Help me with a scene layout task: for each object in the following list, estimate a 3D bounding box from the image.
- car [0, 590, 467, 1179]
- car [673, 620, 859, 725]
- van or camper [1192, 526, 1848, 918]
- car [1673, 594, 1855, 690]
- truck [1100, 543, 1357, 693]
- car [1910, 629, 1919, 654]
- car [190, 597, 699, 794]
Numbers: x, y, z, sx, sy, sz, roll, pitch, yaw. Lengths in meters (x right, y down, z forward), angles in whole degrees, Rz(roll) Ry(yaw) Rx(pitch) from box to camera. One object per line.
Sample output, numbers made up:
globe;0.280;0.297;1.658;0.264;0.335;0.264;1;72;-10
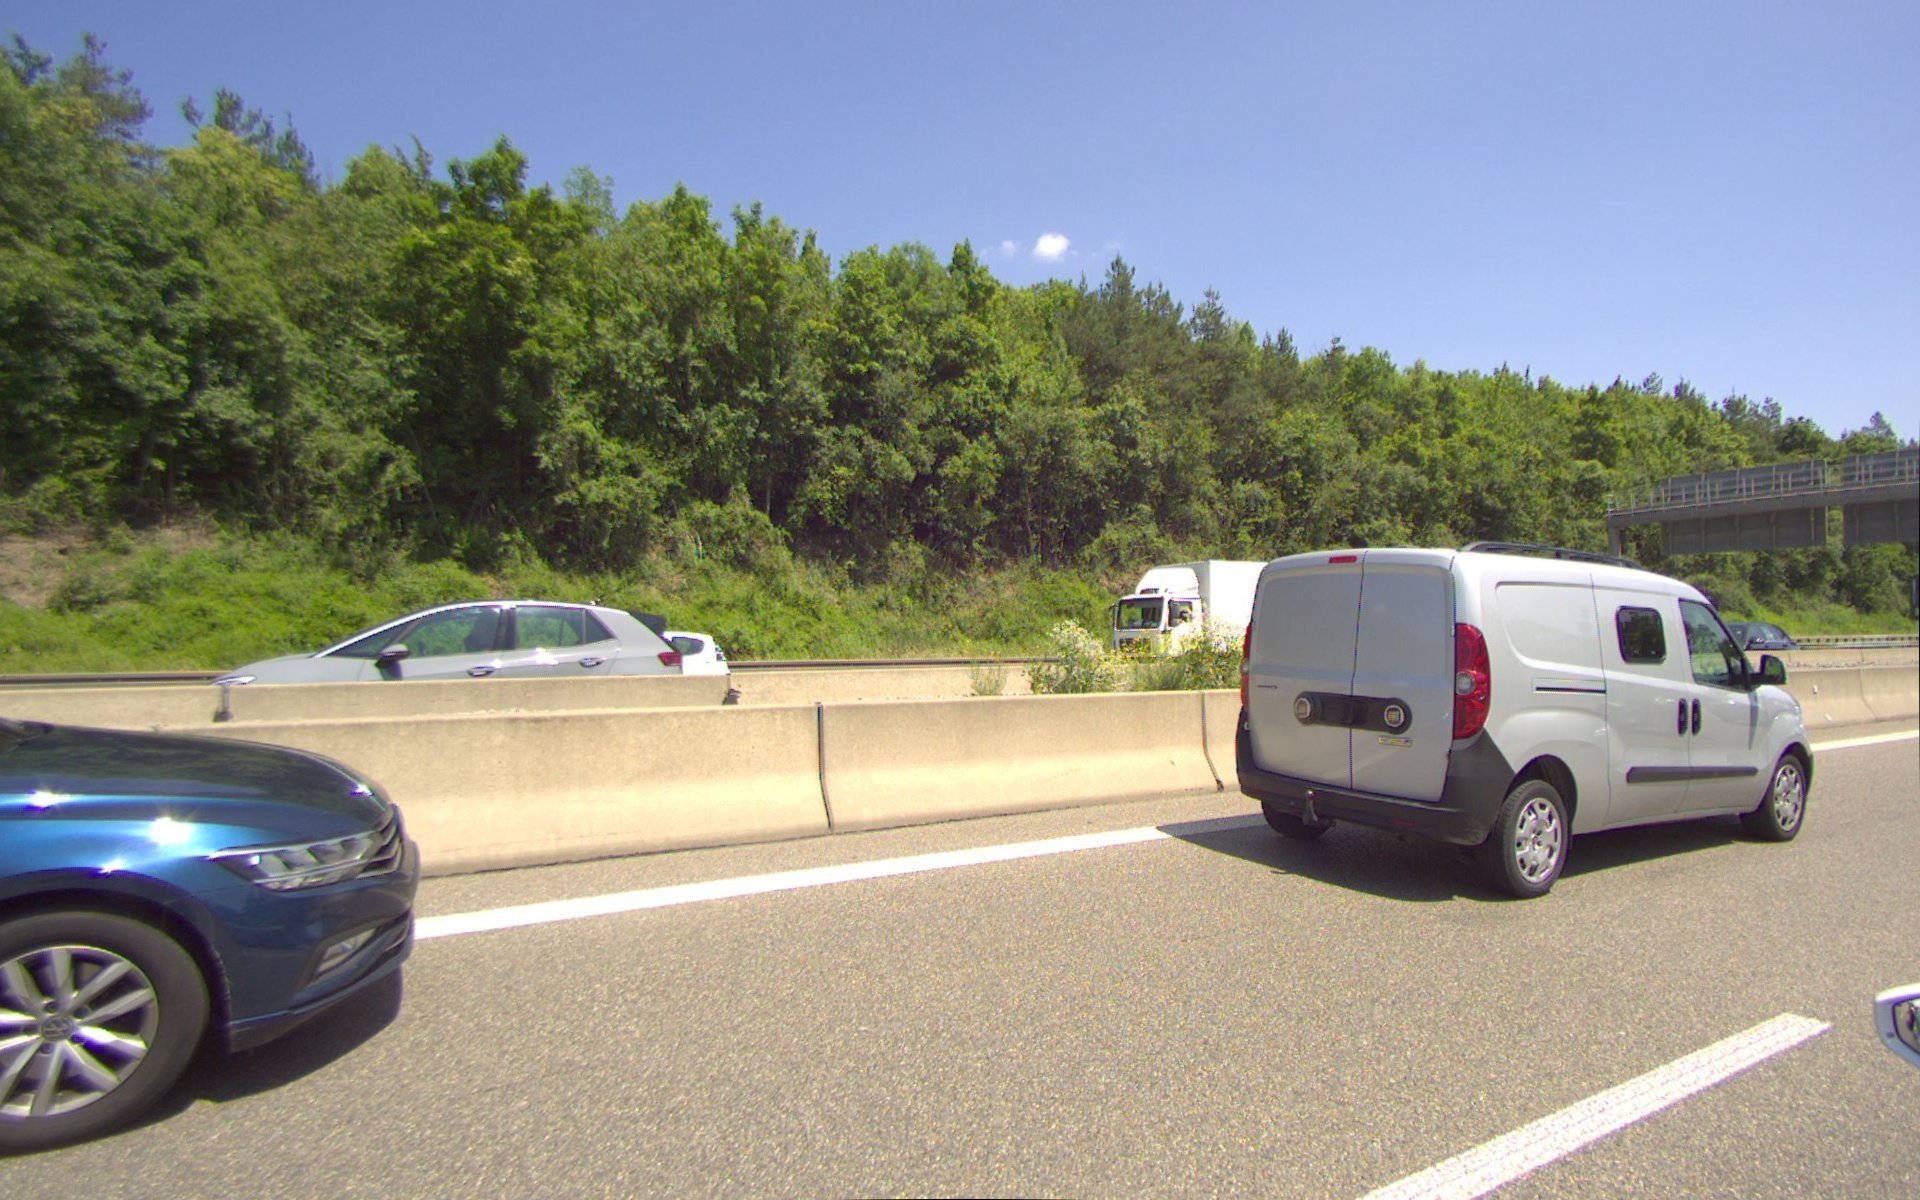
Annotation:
car;-3.955;0.675;2.658;4.624;1.469;1.865;2;-1;-31
car;-4.163;1.511;21.586;3.472;2.040;1.842;2;-1;-30
van or camper;3.910;0.644;6.822;4.507;1.905;1.844;2;0;-30
car;18.694;0.964;23.333;3.953;2.040;1.984;2;-1;-30
truck;8.204;0.613;30.277;7.898;4.042;2.679;2;-1;-31
car;59.858;2.582;61.081;3.953;1.466;1.984;2;-1;-30
car;-4.713;0.779;9.575;3.955;1.514;1.815;1;-1;-32
